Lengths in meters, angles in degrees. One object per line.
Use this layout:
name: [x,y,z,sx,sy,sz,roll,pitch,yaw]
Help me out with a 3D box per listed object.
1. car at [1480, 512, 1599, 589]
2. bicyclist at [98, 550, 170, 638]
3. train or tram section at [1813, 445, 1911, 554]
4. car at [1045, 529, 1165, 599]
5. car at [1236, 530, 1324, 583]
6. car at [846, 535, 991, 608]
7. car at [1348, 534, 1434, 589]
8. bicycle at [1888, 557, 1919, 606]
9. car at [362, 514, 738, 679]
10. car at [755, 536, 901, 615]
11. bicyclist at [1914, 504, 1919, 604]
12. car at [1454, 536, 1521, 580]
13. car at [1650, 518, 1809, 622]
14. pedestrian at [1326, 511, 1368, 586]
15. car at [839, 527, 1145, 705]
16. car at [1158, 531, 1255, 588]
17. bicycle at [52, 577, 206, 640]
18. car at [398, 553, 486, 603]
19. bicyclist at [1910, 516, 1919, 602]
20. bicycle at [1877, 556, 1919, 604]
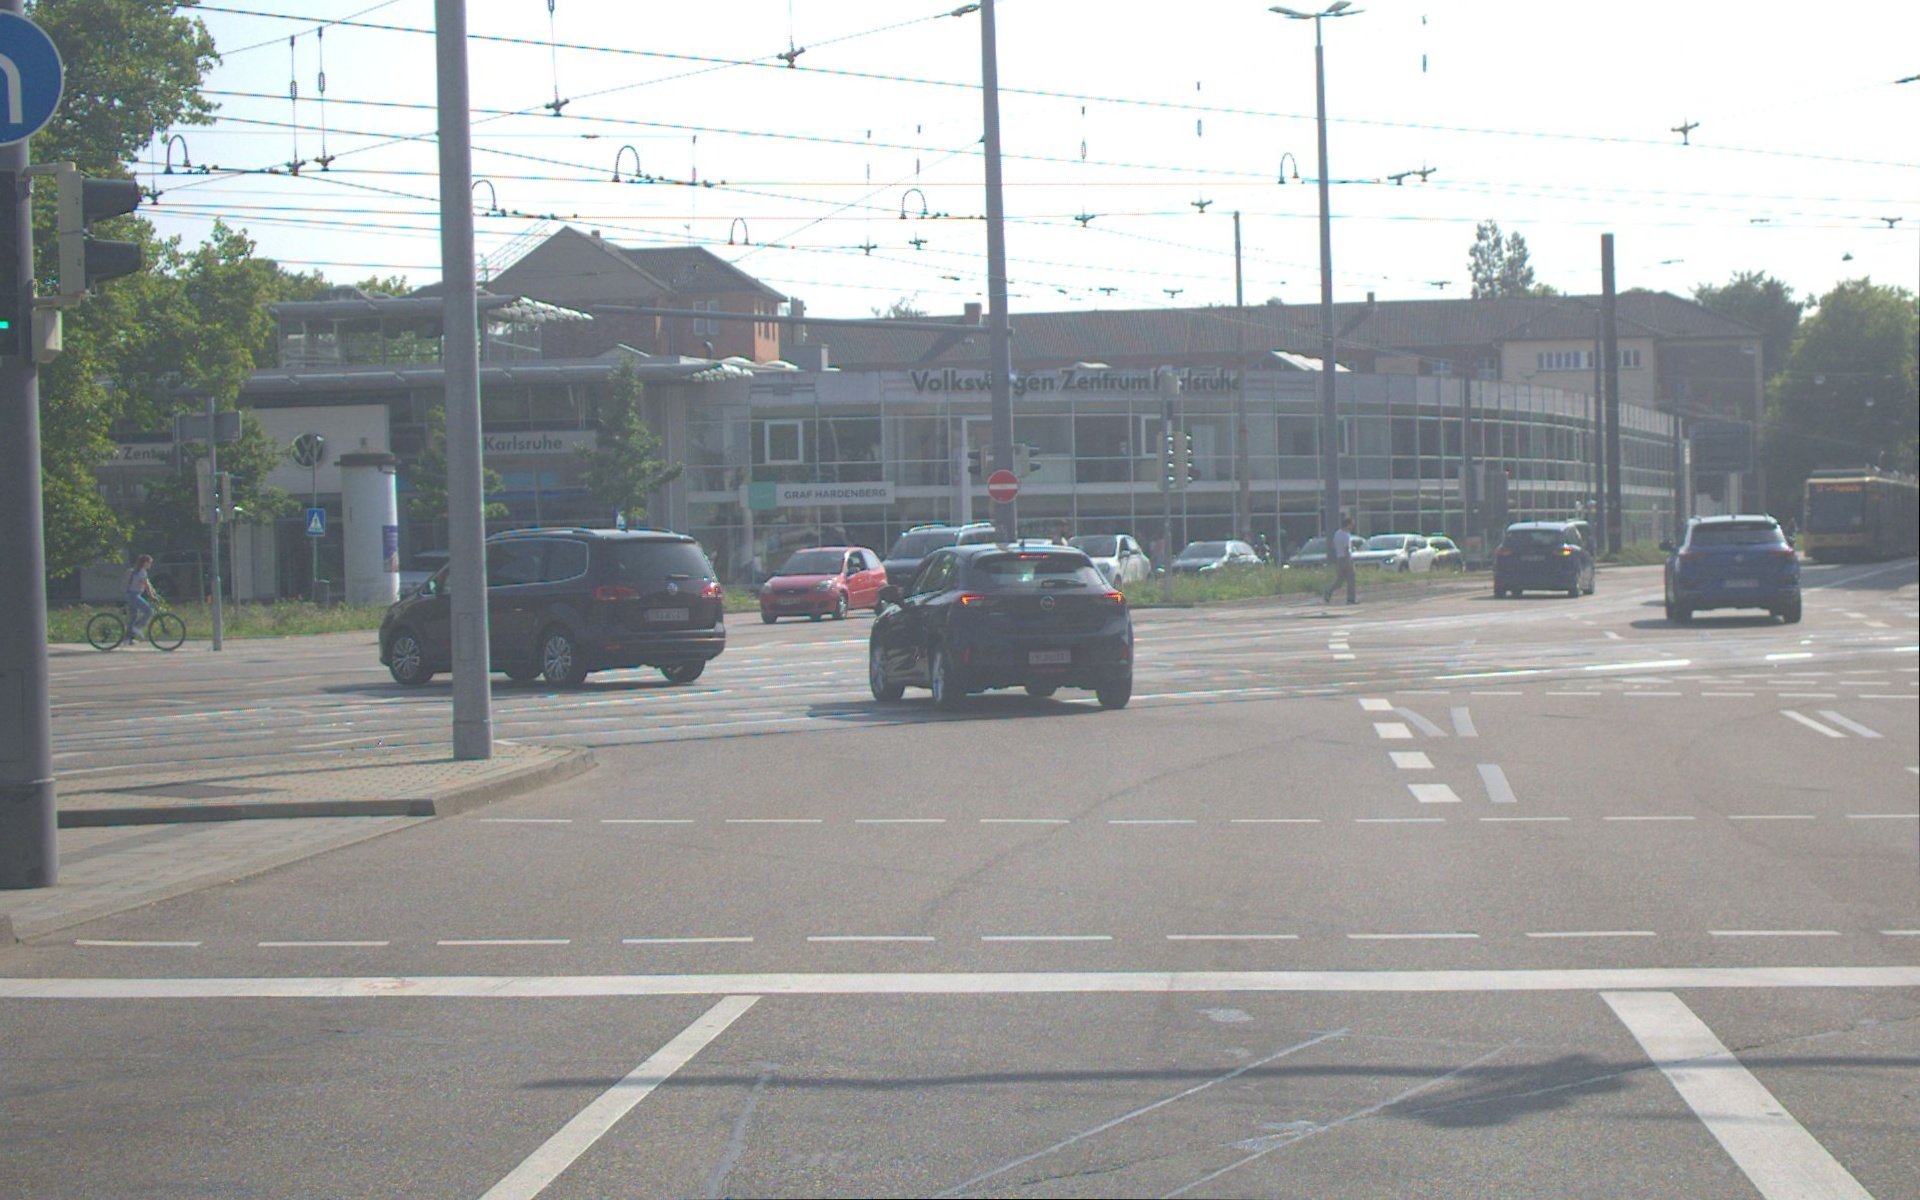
car: [12.442,-1.083,73.663,1.827,1.530,4.408,-1,1,18]
bicyclist: [-14.657,-0.113,61.041,1.162,1.522,0.961,-2,1,-11]
train or tram section: [32.278,-3.585,122.738,2.657,3.686,10.580,-1,1,18]
car: [3.308,-0.831,77.712,1.615,1.470,3.997,-3,0,18]
car: [9.461,-1.294,101.496,1.616,1.470,3.996,-3,0,19]
car: [-0.890,-0.652,76.458,1.962,1.470,3.997,-3,0,18]
car: [12.500,-1.134,99.525,1.616,1.470,3.996,-3,0,19]
bicycle: [19.942,-0.391,69.004,2.618,0.961,1.093,-2,1,-34]
car: [-4.614,-0.056,38.267,1.827,1.708,4.409,-2,2,-44]
car: [-2.630,-0.514,69.422,1.615,1.470,3.997,-3,0,18]
bicyclist: [19.893,-0.932,68.974,0.934,2.017,1.093,-2,1,-34]
car: [19.026,-1.508,123.864,1.616,1.470,3.996,-3,0,19]
car: [11.331,-0.476,50.852,1.826,1.423,4.411,-1,1,7]
pedestrian: [7.880,-1.053,69.930,0.778,1.498,0.710,-1,1,11]
car: [0.207,0.116,31.038,1.682,1.486,4.373,0,0,-15]
car: [6.811,-1.126,94.572,1.616,1.470,3.996,-3,0,19]
bicycle: [-14.728,0.143,61.024,2.599,1.053,0.961,-1,1,-11]
car: [-16.421,-0.721,109.219,1.700,1.517,4.098,-1,1,7]
bicyclist: [20.428,-0.860,71.237,0.934,1.793,1.093,-1,1,-20]
bicycle: [20.450,-0.440,71.253,2.617,0.961,1.093,-2,1,-21]
